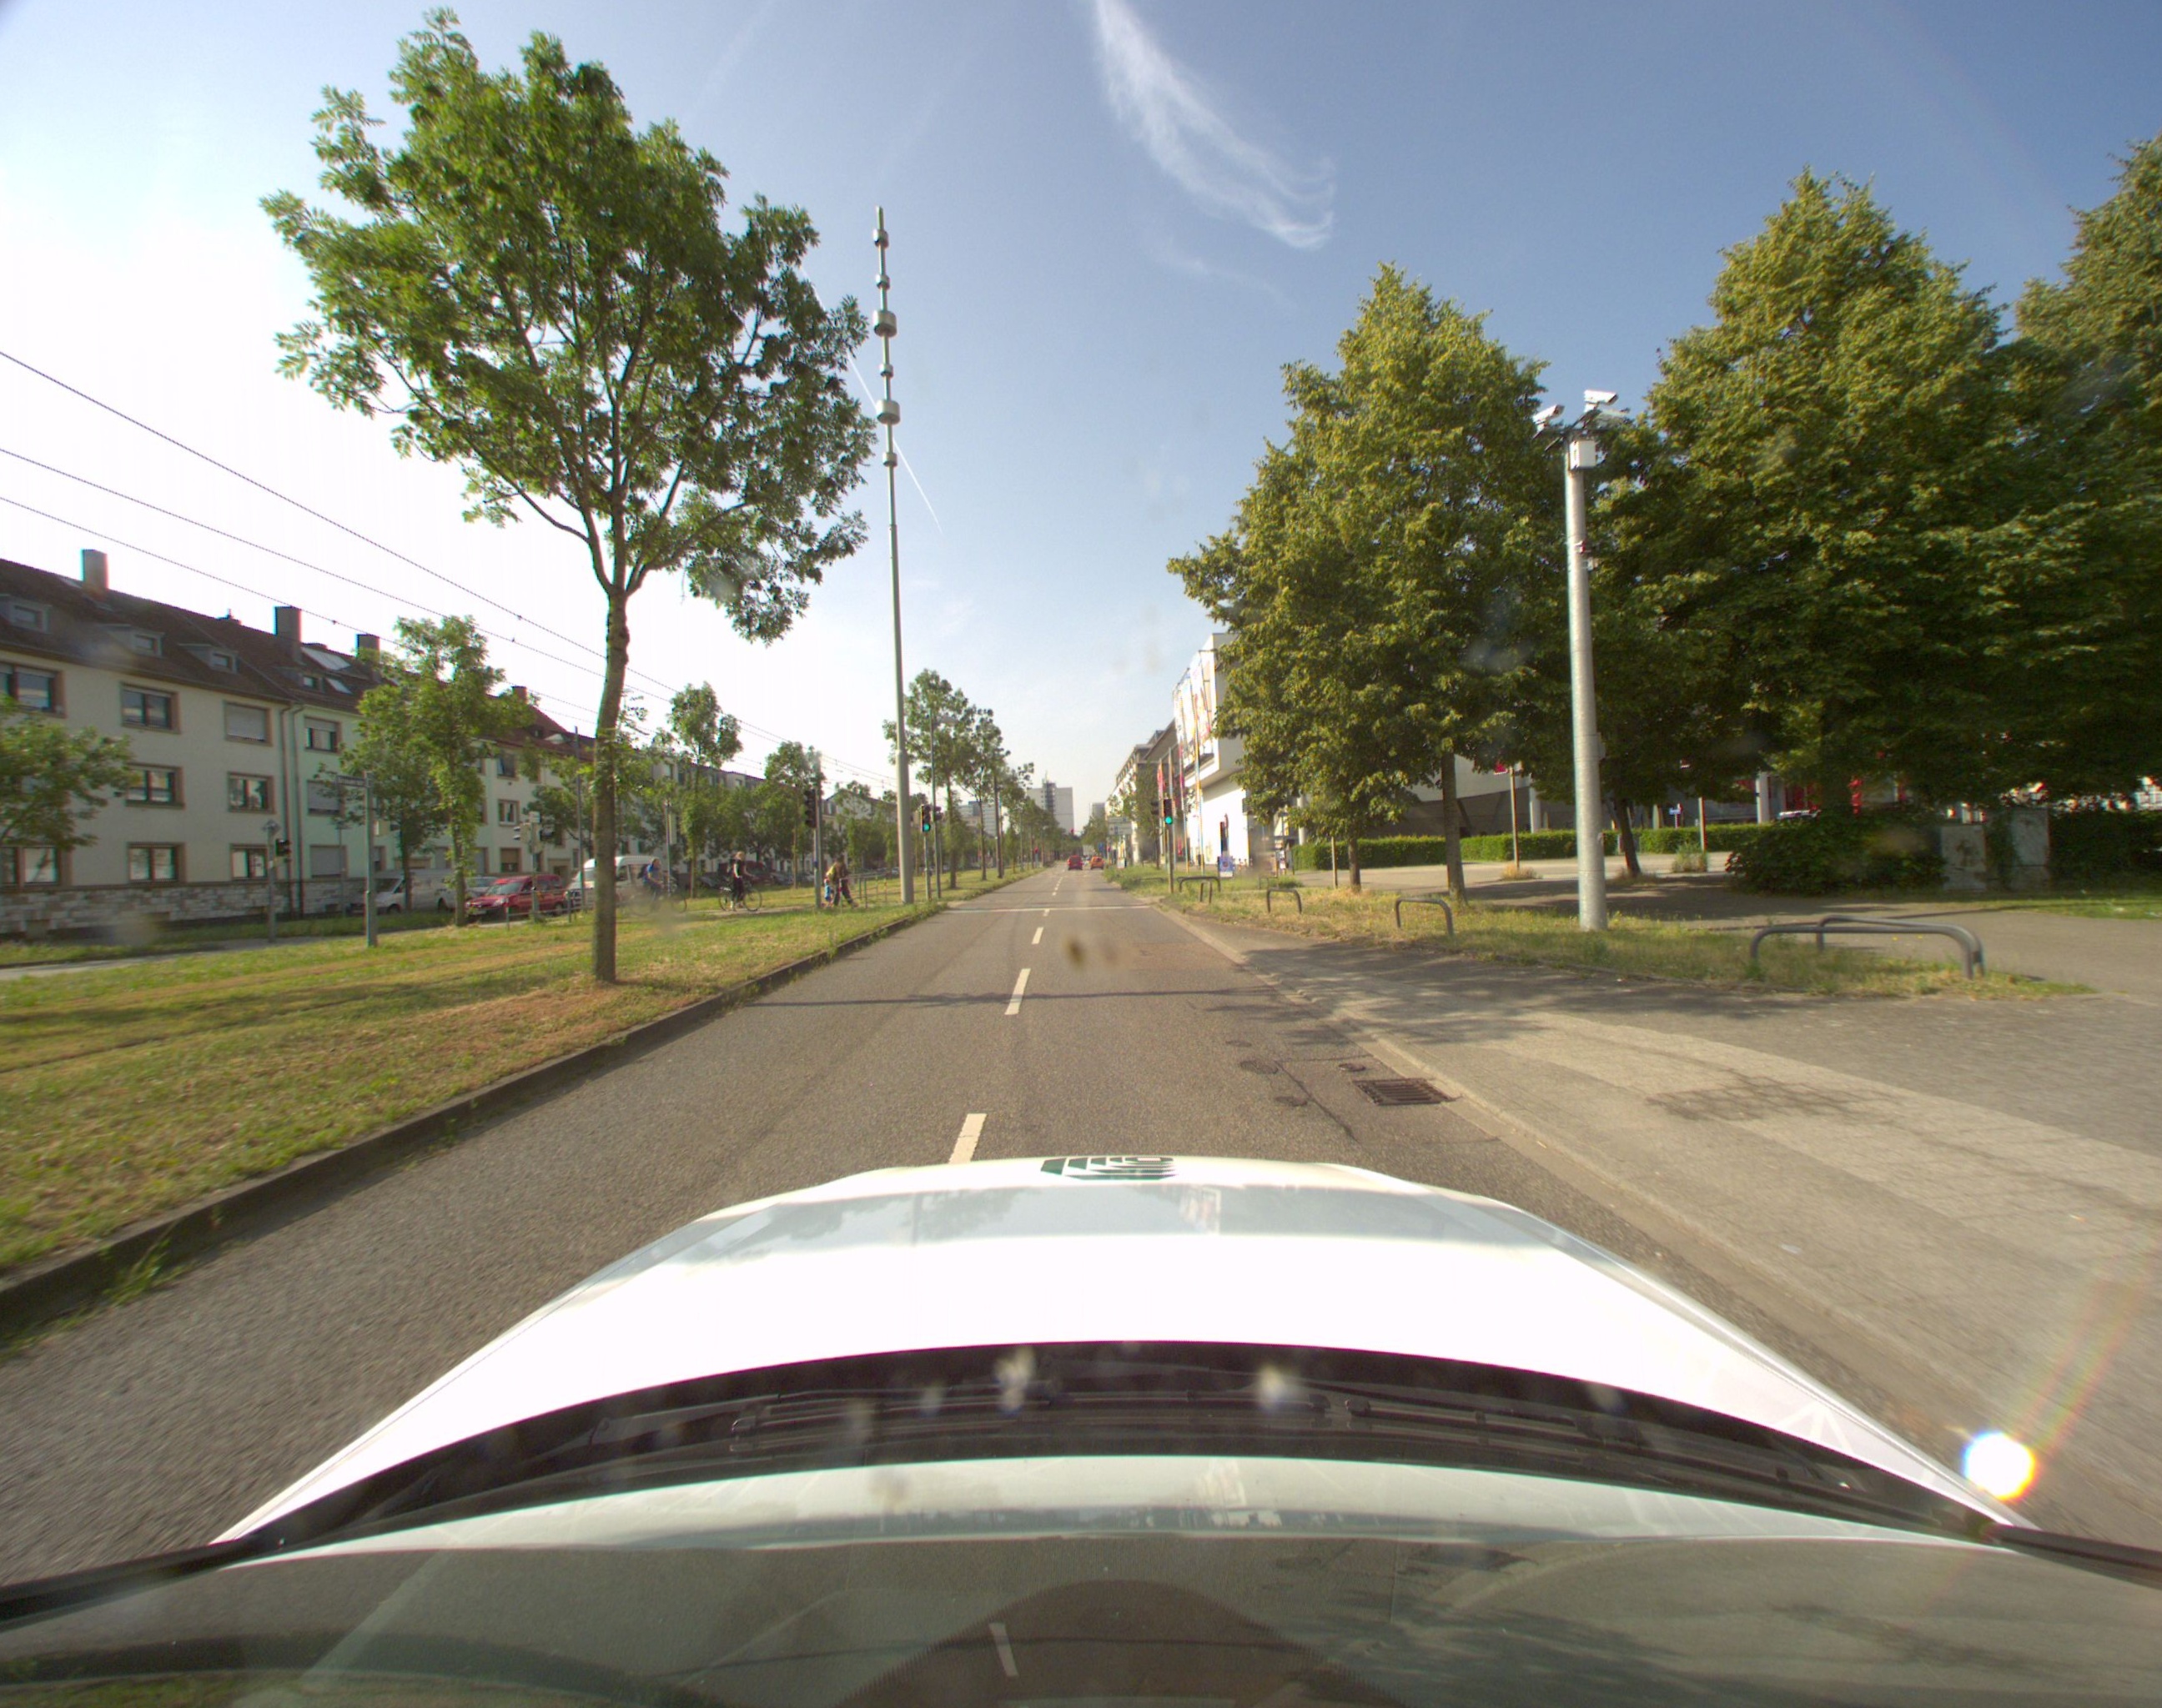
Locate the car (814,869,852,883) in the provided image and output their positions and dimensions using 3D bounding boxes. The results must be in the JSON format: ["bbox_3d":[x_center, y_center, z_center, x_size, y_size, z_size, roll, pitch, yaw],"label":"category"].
[{"bbox_3d":[-27.913,2.482,91.614,3.951,1.596,1.665,-1,-1,24],"label":"car"}]

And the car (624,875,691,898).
[{"bbox_3d":[-27.289,2.083,52.504,3.951,1.412,1.729,-1,-1,24],"label":"car"}]

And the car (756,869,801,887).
[{"bbox_3d":[-27.883,2.205,75.113,3.951,1.530,1.472,-1,-1,24],"label":"car"}]

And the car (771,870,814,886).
[{"bbox_3d":[-27.628,2.283,78.039,3.951,1.530,1.472,-1,-1,24],"label":"car"}]

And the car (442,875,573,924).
[{"bbox_3d":[-22.419,1.715,32.072,1.957,1.694,4.300,-1,0,3],"label":"car"}]

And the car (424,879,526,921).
[{"bbox_3d":[-27.876,2.038,37.400,5.258,1.738,2.013,-1,-1,33],"label":"car"}]

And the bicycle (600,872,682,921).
[{"bbox_3d":[-13.947,1.331,25.878,2.069,1.324,0.780,-5,0,-13],"label":"bicycle"}]

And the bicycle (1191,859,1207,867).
[{"bbox_3d":[12.765,0.978,88.270,1.617,0.888,0.550,-1,-1,-3],"label":"bicycle"}]

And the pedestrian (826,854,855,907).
[{"bbox_3d":[-7.232,0.784,24.502,0.623,1.572,0.711,-1,-1,0],"label":"pedestrian"}]

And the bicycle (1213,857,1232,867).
[{"bbox_3d":[12.802,0.706,73.484,1.617,0.888,0.550,-1,-1,-3],"label":"bicycle"}]

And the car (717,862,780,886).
[{"bbox_3d":[-28.280,1.678,69.234,5.170,2.014,1.887,-1,-1,24],"label":"car"}]

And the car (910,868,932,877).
[{"bbox_3d":[-31.019,3.634,157.996,3.951,1.596,1.665,-1,-1,24],"label":"car"}]

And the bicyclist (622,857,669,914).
[{"bbox_3d":[-13.842,0.996,25.909,1.148,1.762,0.683,0,-1,-14],"label":"bicyclist"}]

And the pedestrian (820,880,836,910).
[{"bbox_3d":[-7.714,1.240,24.827,0.340,0.875,0.461,-1,-1,0],"label":"pedestrian"}]

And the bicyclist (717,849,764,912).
[{"bbox_3d":[-10.669,0.811,25.546,1.141,1.934,0.687,-1,-1,4],"label":"bicyclist"}]

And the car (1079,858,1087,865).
[{"bbox_3d":[0.499,1.853,193.062,1.743,1.650,3.215,-1,-1,0],"label":"car"}]

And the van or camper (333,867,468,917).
[{"bbox_3d":[-35.026,1.869,42.196,1.986,2.328,5.828,-1,0,1],"label":"van or camper"}]

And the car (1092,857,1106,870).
[{"bbox_3d":[2.461,1.305,112.535,1.743,1.650,3.215,-1,-1,0],"label":"car"}]

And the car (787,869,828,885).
[{"bbox_3d":[-27.215,2.275,81.008,3.951,1.530,1.472,-1,-1,24],"label":"car"}]

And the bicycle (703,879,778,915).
[{"bbox_3d":[-10.678,1.342,25.542,2.056,1.042,0.669,-2,-1,5],"label":"bicycle"}]

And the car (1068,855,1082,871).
[{"bbox_3d":[-0.755,1.191,106.736,1.743,2.014,3.215,-1,-1,0],"label":"car"}]

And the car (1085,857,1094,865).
[{"bbox_3d":[1.737,1.505,166.931,1.743,1.650,3.215,-1,-1,0],"label":"car"}]

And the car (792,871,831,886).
[{"bbox_3d":[-28.496,2.608,86.101,3.951,1.530,1.472,-1,-1,24],"label":"car"}]

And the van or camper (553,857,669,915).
[{"bbox_3d":[-22.340,1.422,39.072,2.197,2.531,6.026,-1,0,-2],"label":"van or camper"}]
